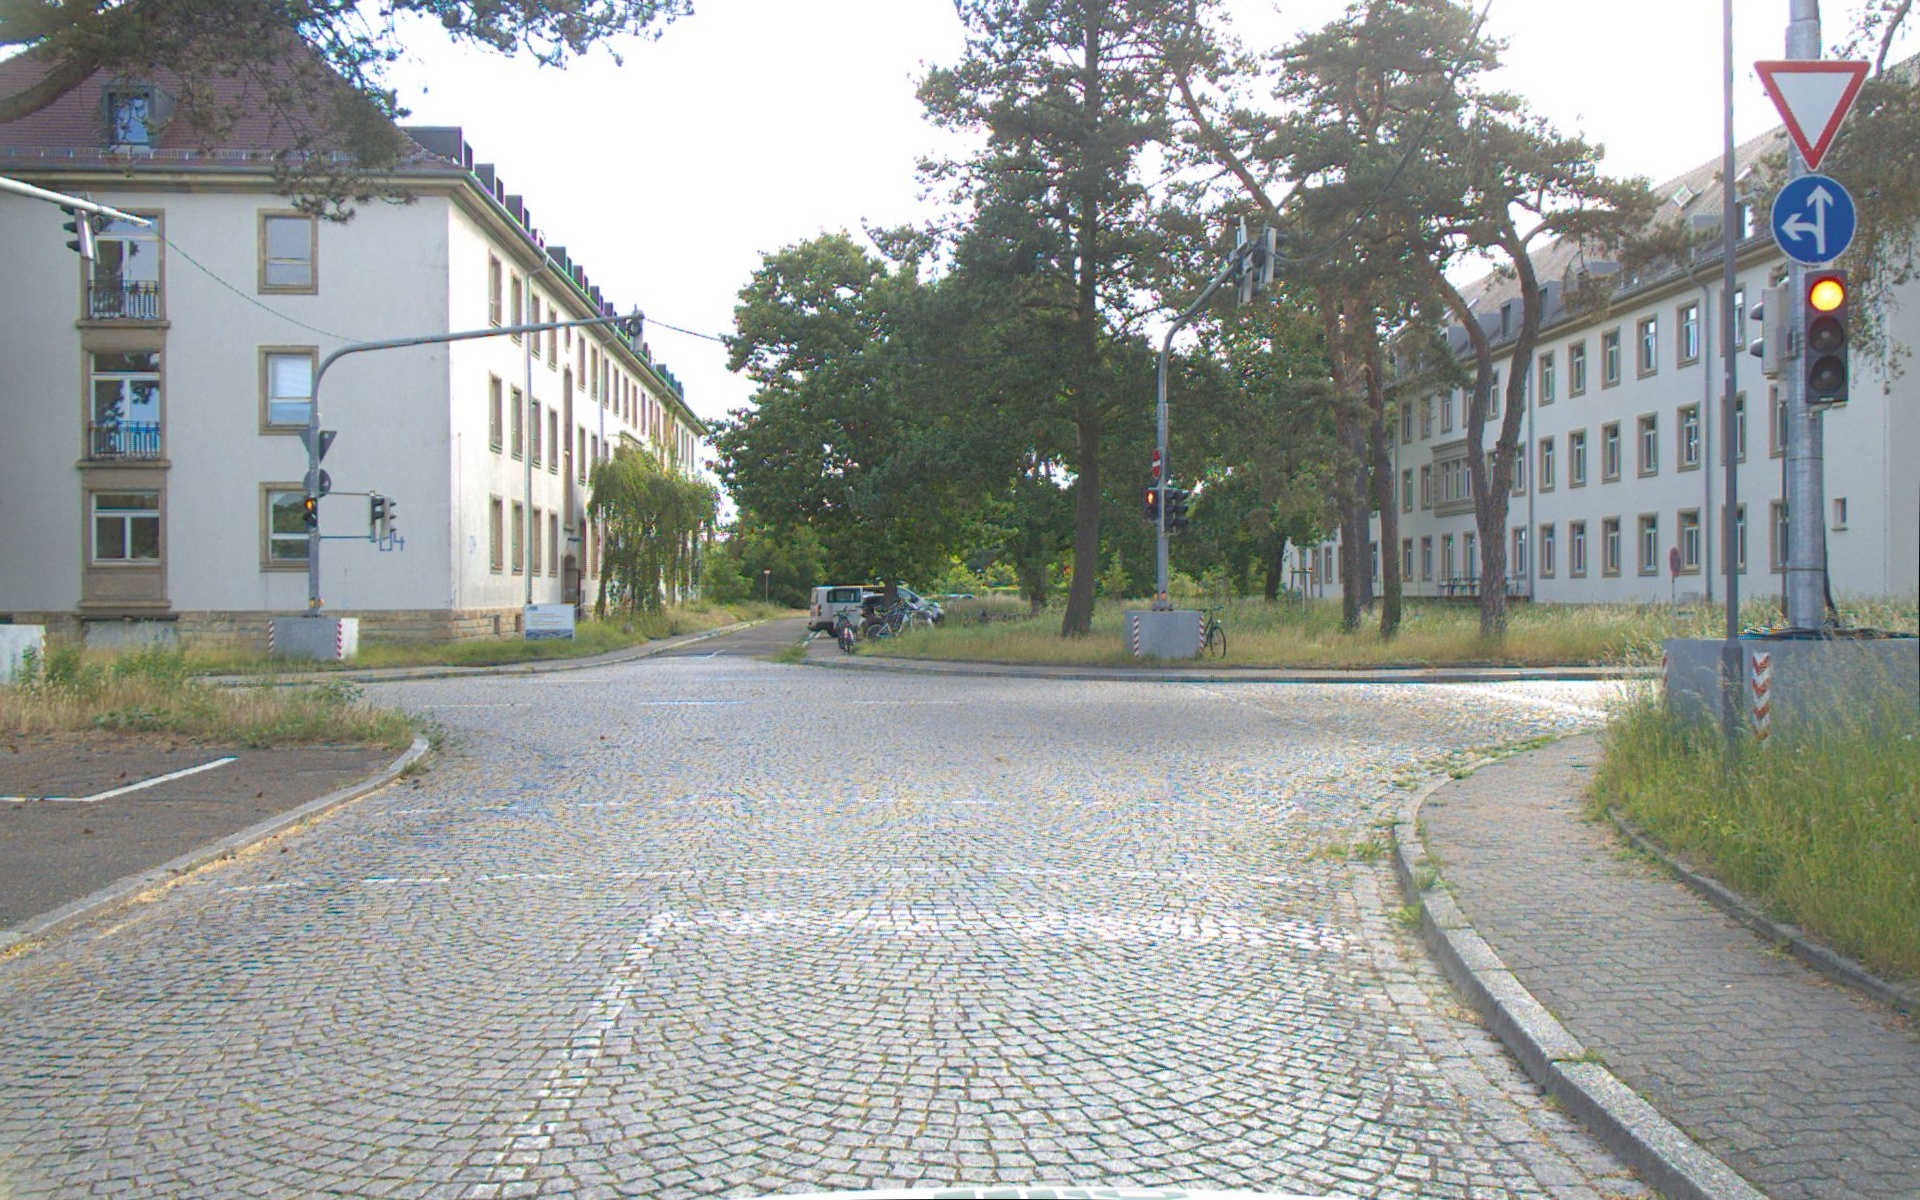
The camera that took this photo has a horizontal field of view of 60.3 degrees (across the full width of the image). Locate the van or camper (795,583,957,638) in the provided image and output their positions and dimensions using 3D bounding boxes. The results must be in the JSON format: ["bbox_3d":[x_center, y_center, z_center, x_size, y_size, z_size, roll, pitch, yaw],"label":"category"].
[{"bbox_3d":[-3.214,0.376,63.370,5.937,1.983,1.990,-1,0,-18],"label":"van or camper"}]

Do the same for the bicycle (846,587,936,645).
[{"bbox_3d":[-2.139,0.497,51.550,2.720,1.723,1.120,2,0,-2],"label":"bicycle"}]

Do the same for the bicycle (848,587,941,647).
[{"bbox_3d":[-1.977,0.514,50.221,2.718,1.723,1.120,2,0,0],"label":"bicycle"}]

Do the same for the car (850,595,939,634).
[{"bbox_3d":[-2.384,0.502,59.841,3.080,1.378,1.616,0,0,-10],"label":"car"}]

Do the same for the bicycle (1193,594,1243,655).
[{"bbox_3d":[5.303,0.495,34.114,0.709,1.189,2.738,1,0,3],"label":"bicycle"}]

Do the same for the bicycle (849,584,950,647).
[{"bbox_3d":[-1.710,0.424,46.667,2.726,1.724,1.117,0,0,-11],"label":"bicycle"}]

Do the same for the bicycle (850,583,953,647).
[{"bbox_3d":[-1.614,0.399,45.478,2.724,1.724,1.118,0,0,-9],"label":"bicycle"}]

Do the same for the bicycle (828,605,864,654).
[{"bbox_3d":[-2.820,0.716,41.112,0.711,1.127,2.461,-5,0,-2],"label":"bicycle"}]
